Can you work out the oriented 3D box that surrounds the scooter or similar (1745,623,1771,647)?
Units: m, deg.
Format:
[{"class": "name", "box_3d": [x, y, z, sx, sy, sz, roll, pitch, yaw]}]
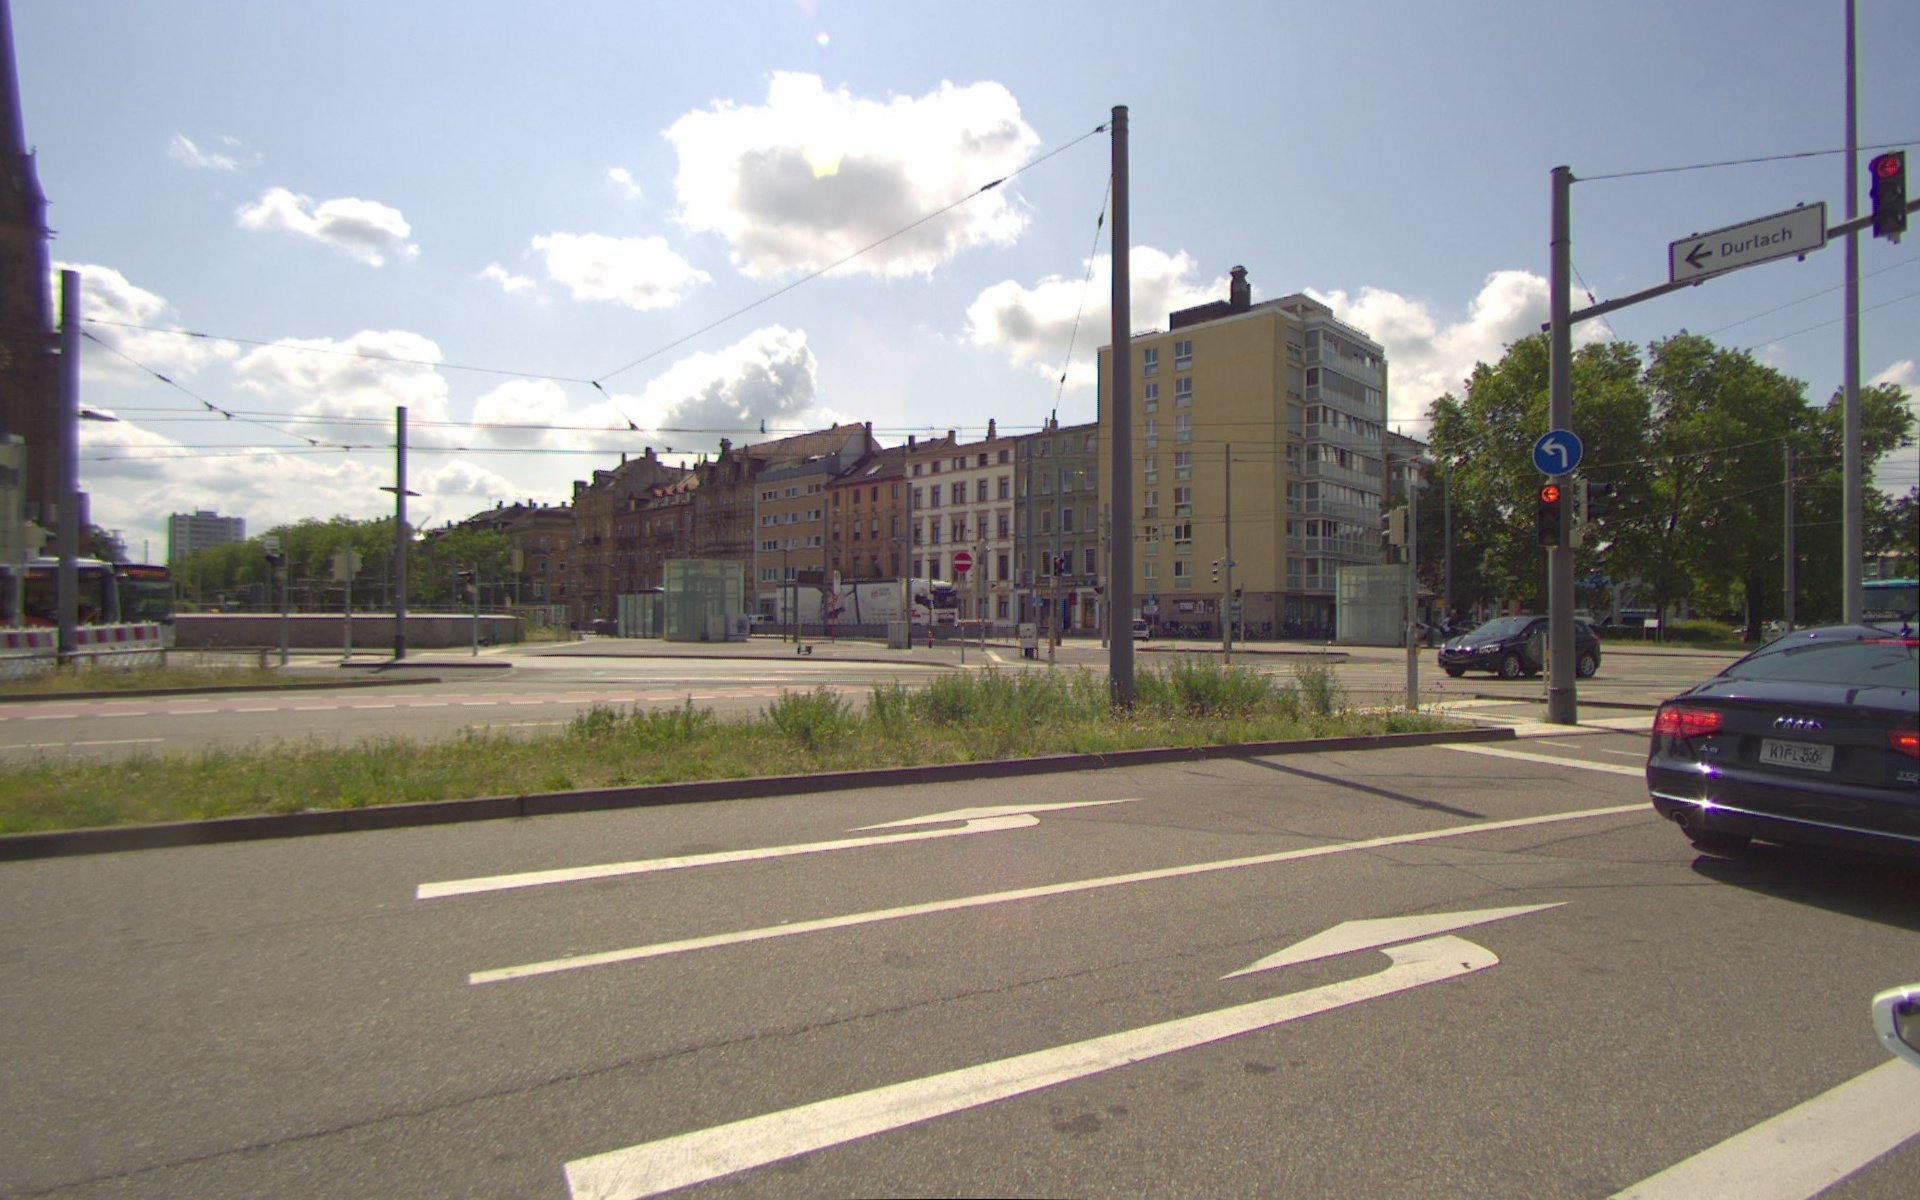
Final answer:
[{"class": "scooter or similar", "box_3d": [39.775, 1.739, 50.056, 1.076, 1.130, 0.378, 2, 0, -11]}]

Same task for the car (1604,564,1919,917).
[{"class": "car", "box_3d": [6.376, 0.692, 6.308, 4.733, 1.663, 1.920, 1, -1, -29]}]

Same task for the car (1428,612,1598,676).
[{"class": "car", "box_3d": [13.852, 1.066, 25.138, 4.097, 1.488, 1.648, 1, -1, -25]}]

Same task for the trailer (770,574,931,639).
[{"class": "trailer", "box_3d": [-7.786, 0.339, 68.825, 13.850, 4.022, 2.692, 1, -1, 44]}]

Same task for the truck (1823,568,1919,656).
[{"class": "truck", "box_3d": [35.087, 0.457, 35.683, 8.657, 2.890, 2.882, 1, -1, -20]}]

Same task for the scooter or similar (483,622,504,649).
[{"class": "scooter or similar", "box_3d": [-20.101, 1.519, 43.290, 0.238, 1.104, 1.131, 2, -1, 8]}]

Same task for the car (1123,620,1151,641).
[{"class": "car", "box_3d": [11.914, 2.033, 67.740, 1.625, 1.338, 3.358, 0, -1, 6]}]

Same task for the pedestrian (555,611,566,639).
[{"class": "pedestrian", "box_3d": [-26.082, 1.642, 65.647, 0.609, 1.816, 0.525, 2, 0, -23]}]

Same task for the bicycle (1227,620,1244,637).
[{"class": "bicycle", "box_3d": [19.468, 1.979, 71.015, 0.501, 1.162, 2.134, 2, -1, -2]}]

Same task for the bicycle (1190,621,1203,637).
[{"class": "bicycle", "box_3d": [17.258, 2.094, 73.304, 0.501, 1.162, 2.135, 2, -1, 1]}]

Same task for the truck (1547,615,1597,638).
[{"class": "truck", "box_3d": [58.680, 2.525, 96.333, 4.714, 2.148, 1.798, 1, -1, -26]}]

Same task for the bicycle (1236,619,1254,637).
[{"class": "bicycle", "box_3d": [20.069, 1.957, 70.762, 0.501, 1.162, 2.134, 2, -1, -2]}]

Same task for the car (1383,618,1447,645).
[{"class": "car", "box_3d": [35.202, 2.431, 77.753, 1.972, 1.883, 4.056, 2, -1, -45]}]

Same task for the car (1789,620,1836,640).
[{"class": "car", "box_3d": [74.134, 2.597, 87.306, 4.133, 1.595, 1.982, 2, -1, -33]}]

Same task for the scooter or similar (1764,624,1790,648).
[{"class": "scooter or similar", "box_3d": [40.050, 1.758, 49.258, 1.076, 1.130, 0.378, 2, 0, -11]}]

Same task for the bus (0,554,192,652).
[{"class": "bus", "box_3d": [-31.783, -0.020, 32.161, 12.028, 2.897, 2.595, 2, -1, -2]}]

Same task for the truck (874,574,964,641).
[{"class": "truck", "box_3d": [-2.637, 0.448, 63.804, 5.375, 4.022, 2.692, 1, -1, 44]}]

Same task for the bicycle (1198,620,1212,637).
[{"class": "bicycle", "box_3d": [17.798, 2.078, 73.038, 0.501, 1.162, 2.135, 2, -1, 1]}]

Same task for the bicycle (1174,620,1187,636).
[{"class": "bicycle", "box_3d": [16.279, 2.046, 74.309, 0.501, 1.162, 2.135, 2, -1, 1]}]

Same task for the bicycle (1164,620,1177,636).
[{"class": "bicycle", "box_3d": [15.643, 2.047, 74.729, 0.501, 1.162, 2.135, 2, -1, 1]}]

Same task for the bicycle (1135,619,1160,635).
[{"class": "bicycle", "box_3d": [14.317, 2.035, 76.698, 0.523, 1.162, 1.924, 2, -1, -40]}]

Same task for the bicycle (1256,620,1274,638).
[{"class": "bicycle", "box_3d": [21.327, 2.010, 70.224, 0.501, 1.162, 2.134, 2, -1, -2]}]

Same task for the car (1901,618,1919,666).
[{"class": "car", "box_3d": [30.566, 1.244, 30.080, 4.705, 1.410, 1.650, 1, -1, -22]}]

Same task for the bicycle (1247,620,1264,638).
[{"class": "bicycle", "box_3d": [20.713, 2.015, 70.414, 0.523, 1.162, 2.134, 2, -1, -2]}]
